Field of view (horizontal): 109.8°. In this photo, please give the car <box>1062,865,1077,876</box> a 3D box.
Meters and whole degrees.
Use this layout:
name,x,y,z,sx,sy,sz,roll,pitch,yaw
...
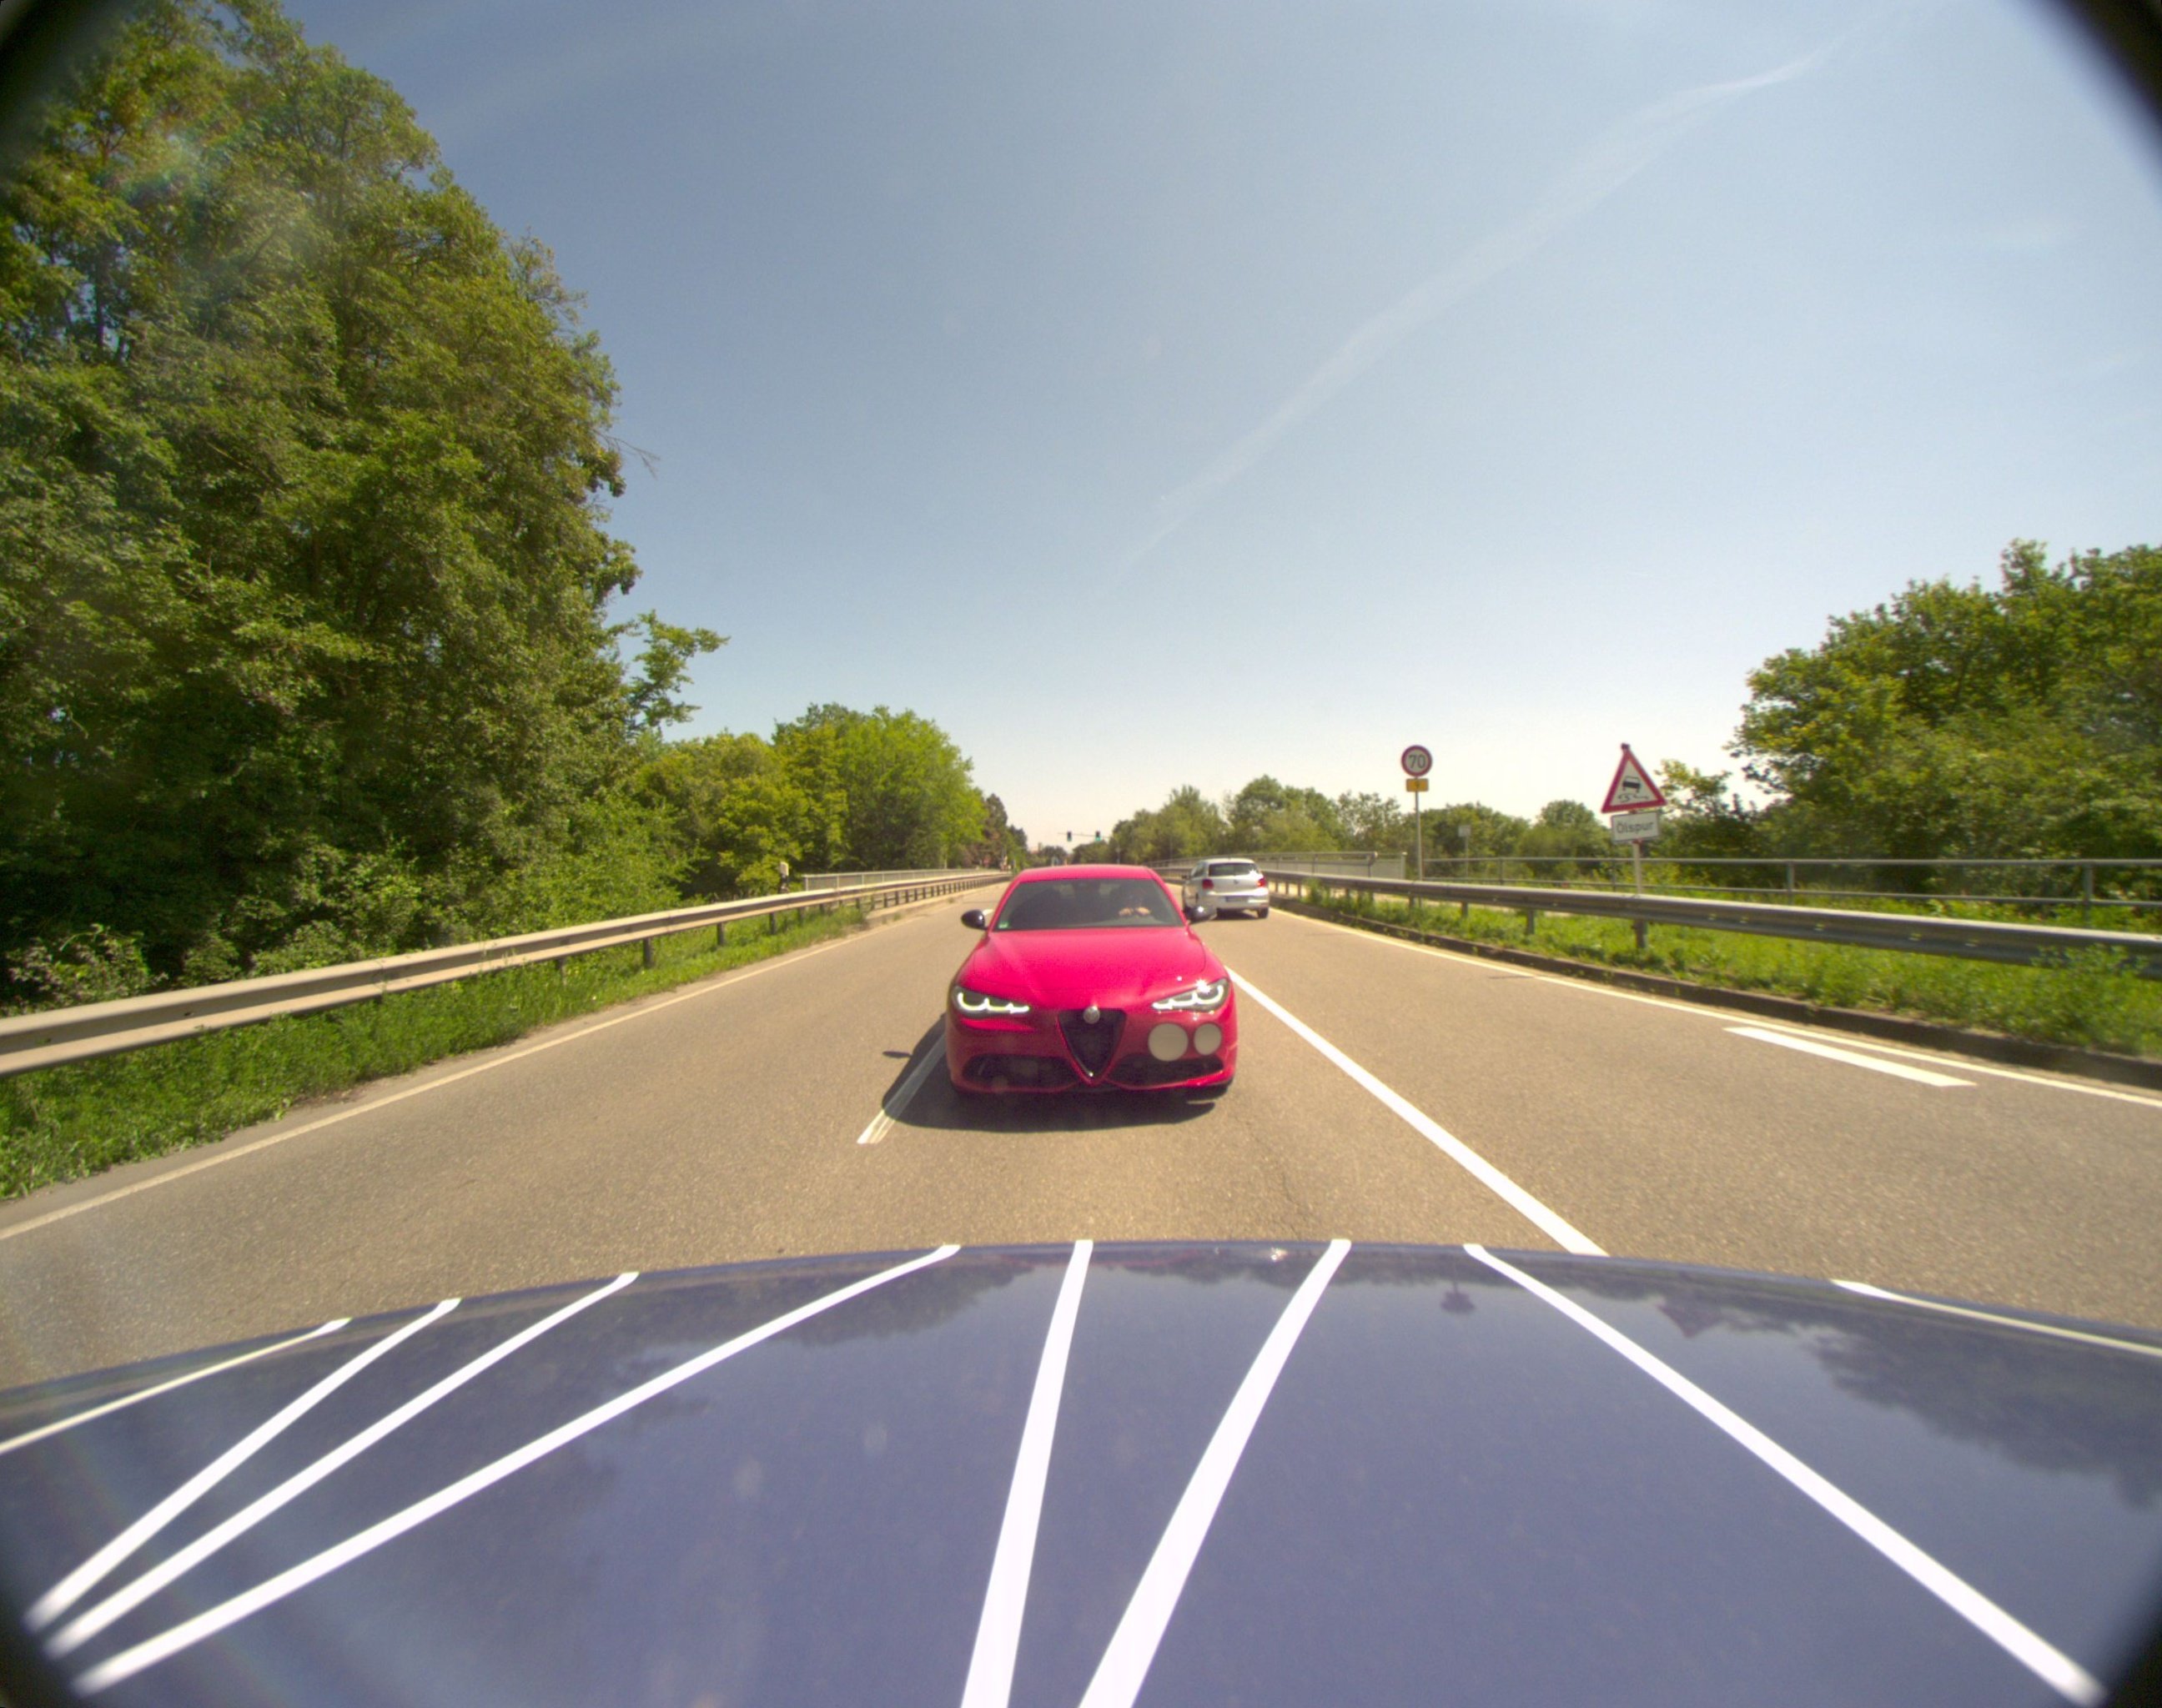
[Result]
name,x,y,z,sx,sy,sz,roll,pitch,yaw
car,-1.523,2.190,101.843,1.800,1.448,3.706,-1,0,1

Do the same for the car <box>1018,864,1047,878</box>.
name,x,y,z,sx,sy,sz,roll,pitch,yaw
car,-7.246,2.445,112.863,3.988,2.002,2.004,-1,1,40

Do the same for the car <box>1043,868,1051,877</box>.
name,x,y,z,sx,sy,sz,roll,pitch,yaw
car,-6.655,3.575,149.074,1.476,1.565,3.487,-1,1,-3

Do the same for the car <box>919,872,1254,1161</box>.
name,x,y,z,sx,sy,sz,roll,pitch,yaw
car,0.030,0.940,6.295,1.800,1.448,4.284,-1,0,0

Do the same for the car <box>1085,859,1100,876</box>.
name,x,y,z,sx,sy,sz,roll,pitch,yaw
car,1.683,1.877,109.839,1.995,2.354,5.181,-2,0,0

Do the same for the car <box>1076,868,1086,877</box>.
name,x,y,z,sx,sy,sz,roll,pitch,yaw
car,0.015,3.746,155.979,1.848,1.758,4.000,-1,0,0

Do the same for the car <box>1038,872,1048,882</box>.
name,x,y,z,sx,sy,sz,roll,pitch,yaw
car,-6.424,3.906,128.773,1.416,1.499,3.316,-1,0,-1

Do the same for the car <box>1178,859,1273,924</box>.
name,x,y,z,sx,sy,sz,roll,pitch,yaw
car,3.541,0.869,19.197,1.648,1.410,3.766,-2,0,0
